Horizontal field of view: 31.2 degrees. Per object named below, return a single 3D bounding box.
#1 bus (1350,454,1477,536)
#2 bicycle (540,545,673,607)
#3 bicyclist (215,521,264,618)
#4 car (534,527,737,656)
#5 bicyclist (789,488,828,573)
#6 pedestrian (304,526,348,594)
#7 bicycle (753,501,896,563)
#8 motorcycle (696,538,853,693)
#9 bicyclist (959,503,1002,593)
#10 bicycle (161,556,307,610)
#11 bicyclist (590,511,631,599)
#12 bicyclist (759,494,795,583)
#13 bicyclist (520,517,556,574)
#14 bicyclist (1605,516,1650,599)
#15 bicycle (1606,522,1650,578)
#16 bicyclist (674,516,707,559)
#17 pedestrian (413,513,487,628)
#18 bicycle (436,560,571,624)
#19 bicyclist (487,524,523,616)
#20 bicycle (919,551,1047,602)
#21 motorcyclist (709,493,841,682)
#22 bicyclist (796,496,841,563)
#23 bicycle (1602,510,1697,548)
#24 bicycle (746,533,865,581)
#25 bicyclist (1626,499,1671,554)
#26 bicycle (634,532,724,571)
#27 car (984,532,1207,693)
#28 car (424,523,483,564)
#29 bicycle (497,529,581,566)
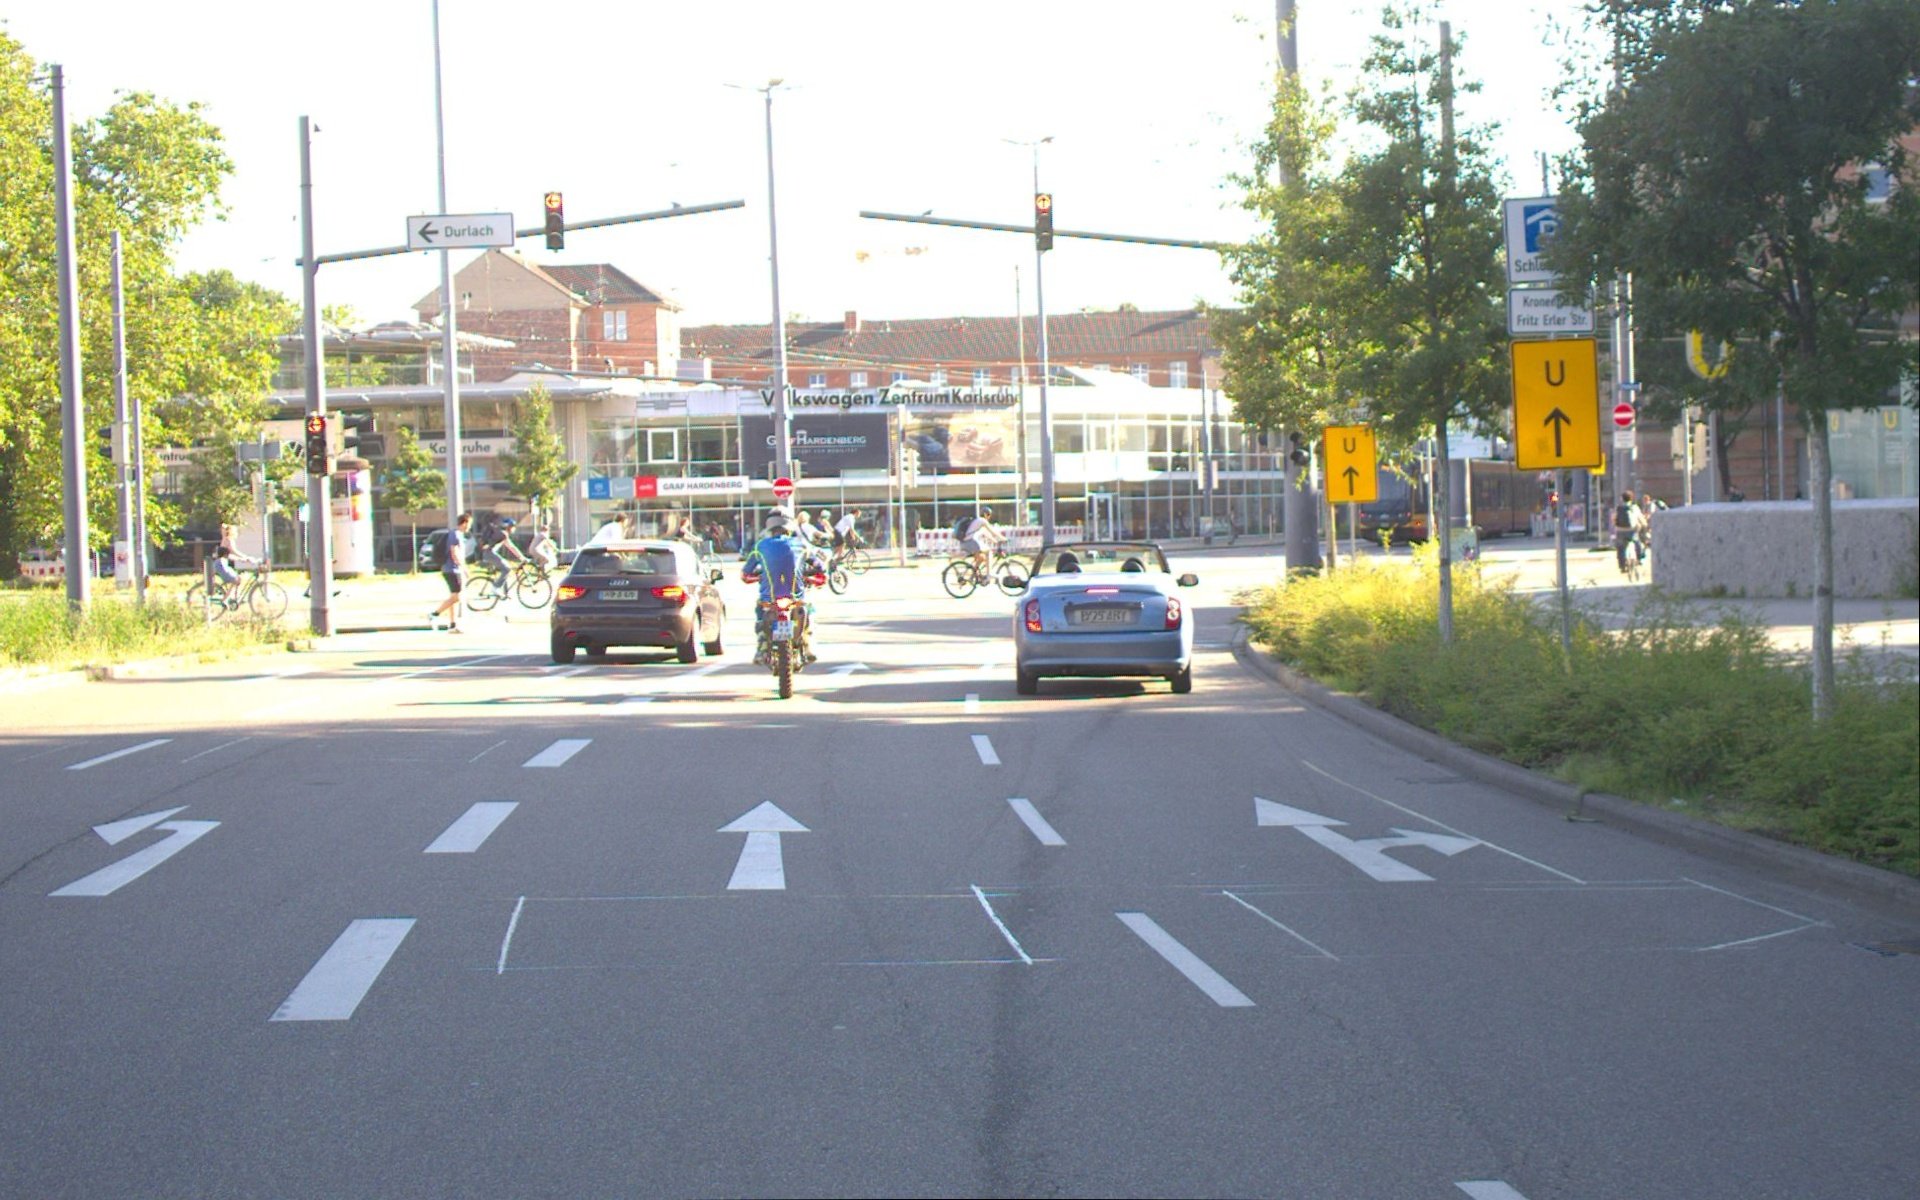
[{"bbox_3d":[17.437,-4.068,131.612,2.357,2.873,9.568,1,3,23],"label":"bus"},{"bbox_3d":[-6.932,-0.479,67.432,2.492,1.129,0.860,-1,3,-14],"label":"bicycle"},{"bbox_3d":[-12.980,-0.554,61.905,0.745,1.685,0.860,-1,3,-18],"label":"bicyclist"},{"bbox_3d":[-3.802,-0.140,40.893,1.801,1.439,3.978,0,1,4],"label":"car"},{"bbox_3d":[-3.070,-1.415,69.697,0.649,1.685,0.860,-1,3,-12],"label":"bicyclist"},{"bbox_3d":[-17.276,-1.100,93.713,0.989,1.810,0.920,0,3,2],"label":"pedestrian"},{"bbox_3d":[-3.928,-1.982,99.864,3.986,1.684,1.139,-1,3,-15],"label":"bicycle"},{"bbox_3d":[-1.691,0.115,31.836,1.096,1.372,2.653,0,1,5],"label":"motorcycle"},{"bbox_3d":[0.383,-1.006,65.706,0.649,1.685,0.860,-1,3,-12],"label":"bicyclist"},{"bbox_3d":[-13.072,-0.308,61.882,2.492,0.871,0.860,-1,3,-18],"label":"bicycle"},{"bbox_3d":[-6.856,-0.885,67.436,0.649,1.685,0.860,-1,3,-14],"label":"bicyclist"},{"bbox_3d":[-3.706,-1.244,69.585,0.582,1.771,0.867,-2,1,-11],"label":"bicyclist"},{"bbox_3d":[-11.927,-1.538,97.153,0.923,1.554,0.860,-1,3,-12],"label":"bicyclist"},{"bbox_3d":[13.251,-0.843,68.281,0.789,1.588,0.947,-3,0,12],"label":"bicyclist"},{"bbox_3d":[13.292,-0.995,68.391,0.789,1.035,1.962,-4,0,12],"label":"bicycle"},{"bbox_3d":[-7.426,-1.731,94.788,0.712,1.139,0.838,-1,3,-18],"label":"bicyclist"},{"bbox_3d":[-7.579,-0.441,51.083,0.826,1.666,0.699,-2,1,-35],"label":"pedestrian"},{"bbox_3d":[-8.569,-0.152,64.561,2.492,1.129,0.860,-1,3,-8],"label":"bicycle"},{"bbox_3d":[-8.544,-0.563,64.548,0.649,1.685,0.860,-1,3,-8],"label":"bicyclist"},{"bbox_3d":[0.437,-0.454,65.768,2.295,0.902,0.860,-1,3,-12],"label":"bicycle"},{"bbox_3d":[-1.700,-0.121,31.746,1.096,1.715,0.936,0,1,5],"label":"motorcyclist"},{"bbox_3d":[-4.101,-2.059,99.818,1.070,1.894,1.123,-1,3,-15],"label":"bicyclist"},{"bbox_3d":[19.550,-2.019,97.518,2.437,1.000,0.963,-2,1,-12],"label":"bicycle"},{"bbox_3d":[-3.128,-0.883,69.720,2.295,0.902,0.860,-1,3,-12],"label":"bicycle"},{"bbox_3d":[19.529,-2.084,97.527,0.923,1.554,0.963,-2,1,-12],"label":"bicyclist"},{"bbox_3d":[-7.731,-1.335,94.691,2.295,0.956,0.860,-3,4,-19],"label":"bicycle"},{"bbox_3d":[1.366,0.072,33.126,1.801,1.439,3.977,0,1,7],"label":"car"},{"bbox_3d":[-20.967,-2.343,142.344,1.993,1.529,4.001,-1,3,-2],"label":"car"},{"bbox_3d":[-11.906,-1.491,97.164,2.295,0.976,0.860,-1,3,-11],"label":"bicycle"}]
